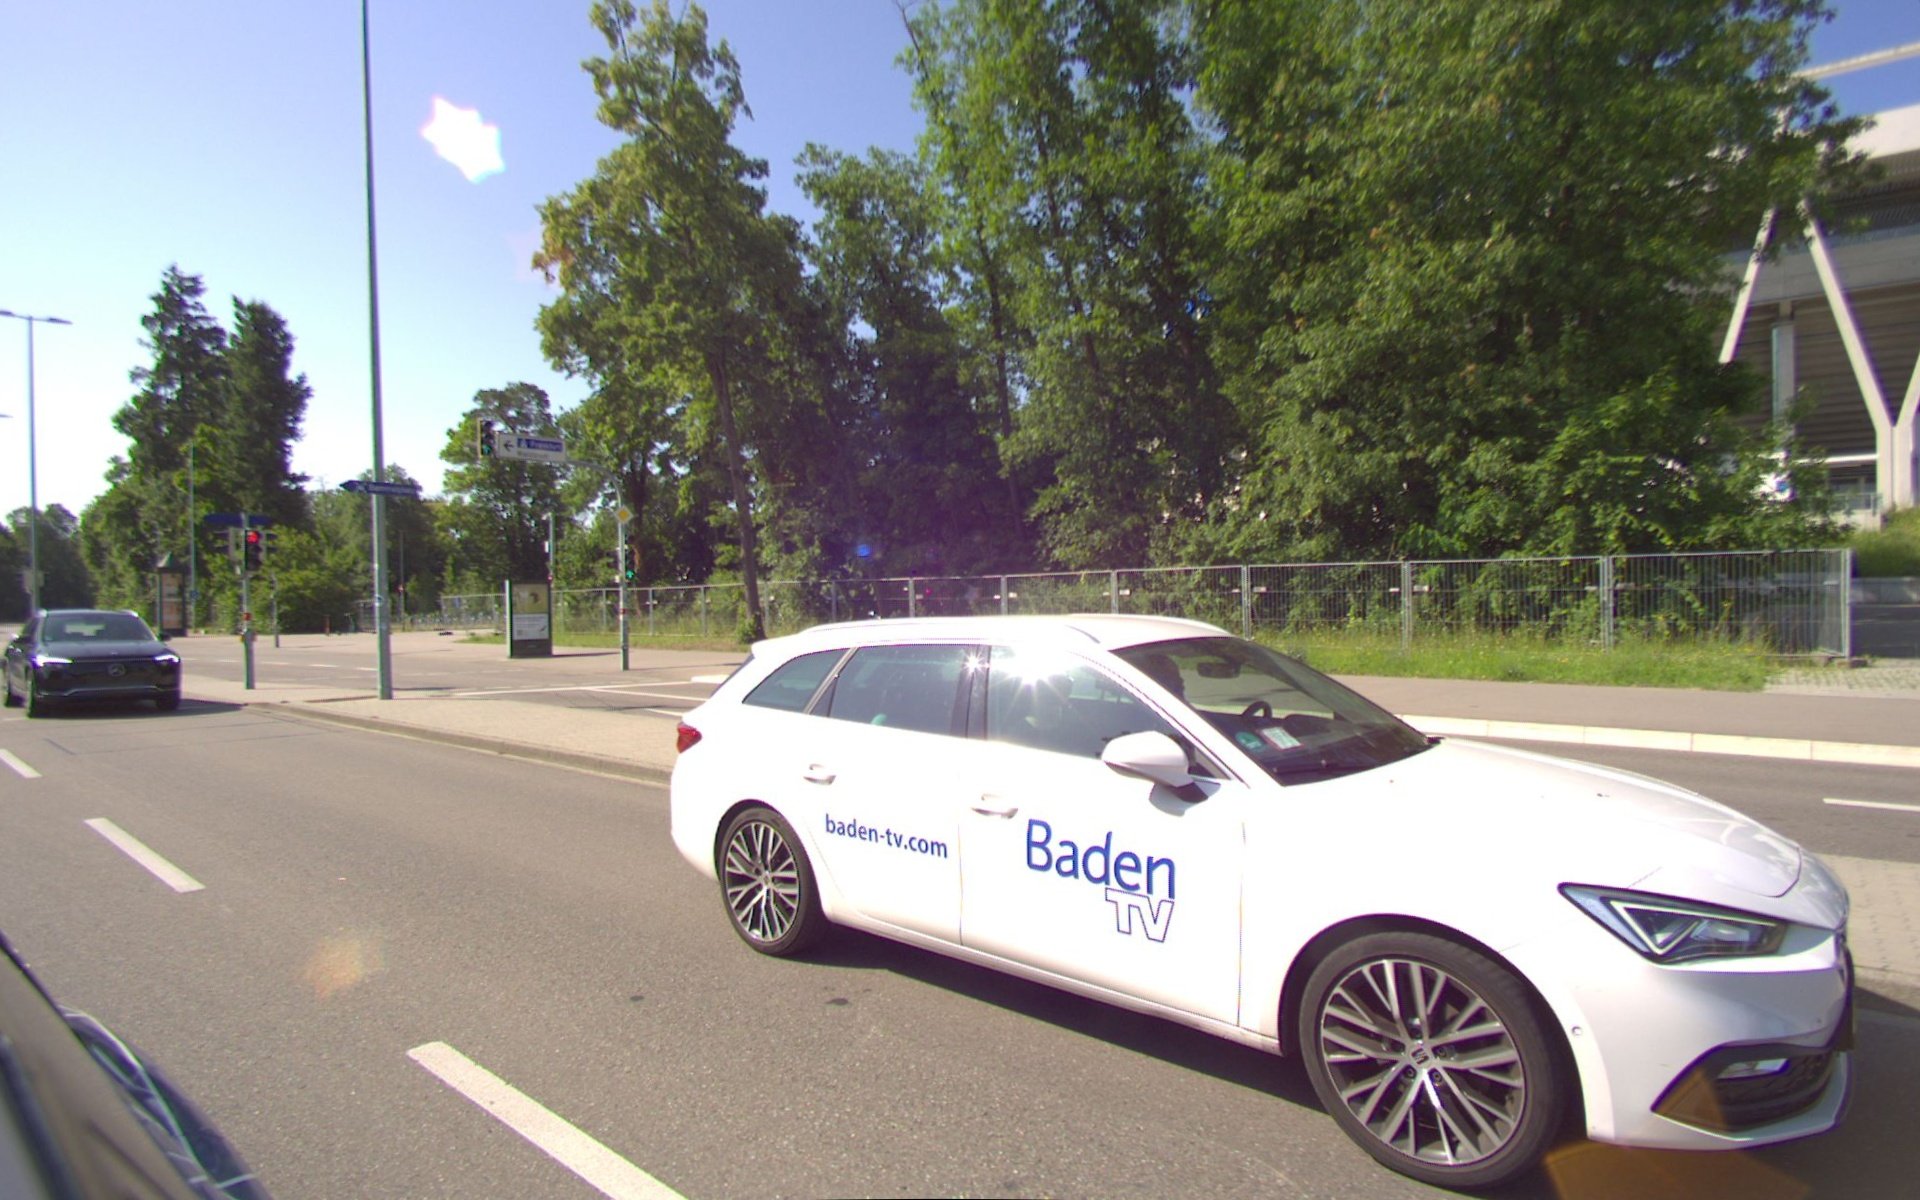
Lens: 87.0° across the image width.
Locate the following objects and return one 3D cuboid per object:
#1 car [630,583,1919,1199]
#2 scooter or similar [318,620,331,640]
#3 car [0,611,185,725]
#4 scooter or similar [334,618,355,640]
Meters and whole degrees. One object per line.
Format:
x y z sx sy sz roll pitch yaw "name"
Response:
0.763 0.733 3.946 4.717 1.437 1.707 -1 -2 41 "car"
-36.812 1.752 58.630 0.390 1.154 1.198 -1 0 -43 "scooter or similar"
-14.135 0.985 16.295 4.270 1.608 1.786 -1 -1 40 "car"
-36.071 1.688 59.310 0.393 1.231 1.075 -1 0 17 "scooter or similar"
